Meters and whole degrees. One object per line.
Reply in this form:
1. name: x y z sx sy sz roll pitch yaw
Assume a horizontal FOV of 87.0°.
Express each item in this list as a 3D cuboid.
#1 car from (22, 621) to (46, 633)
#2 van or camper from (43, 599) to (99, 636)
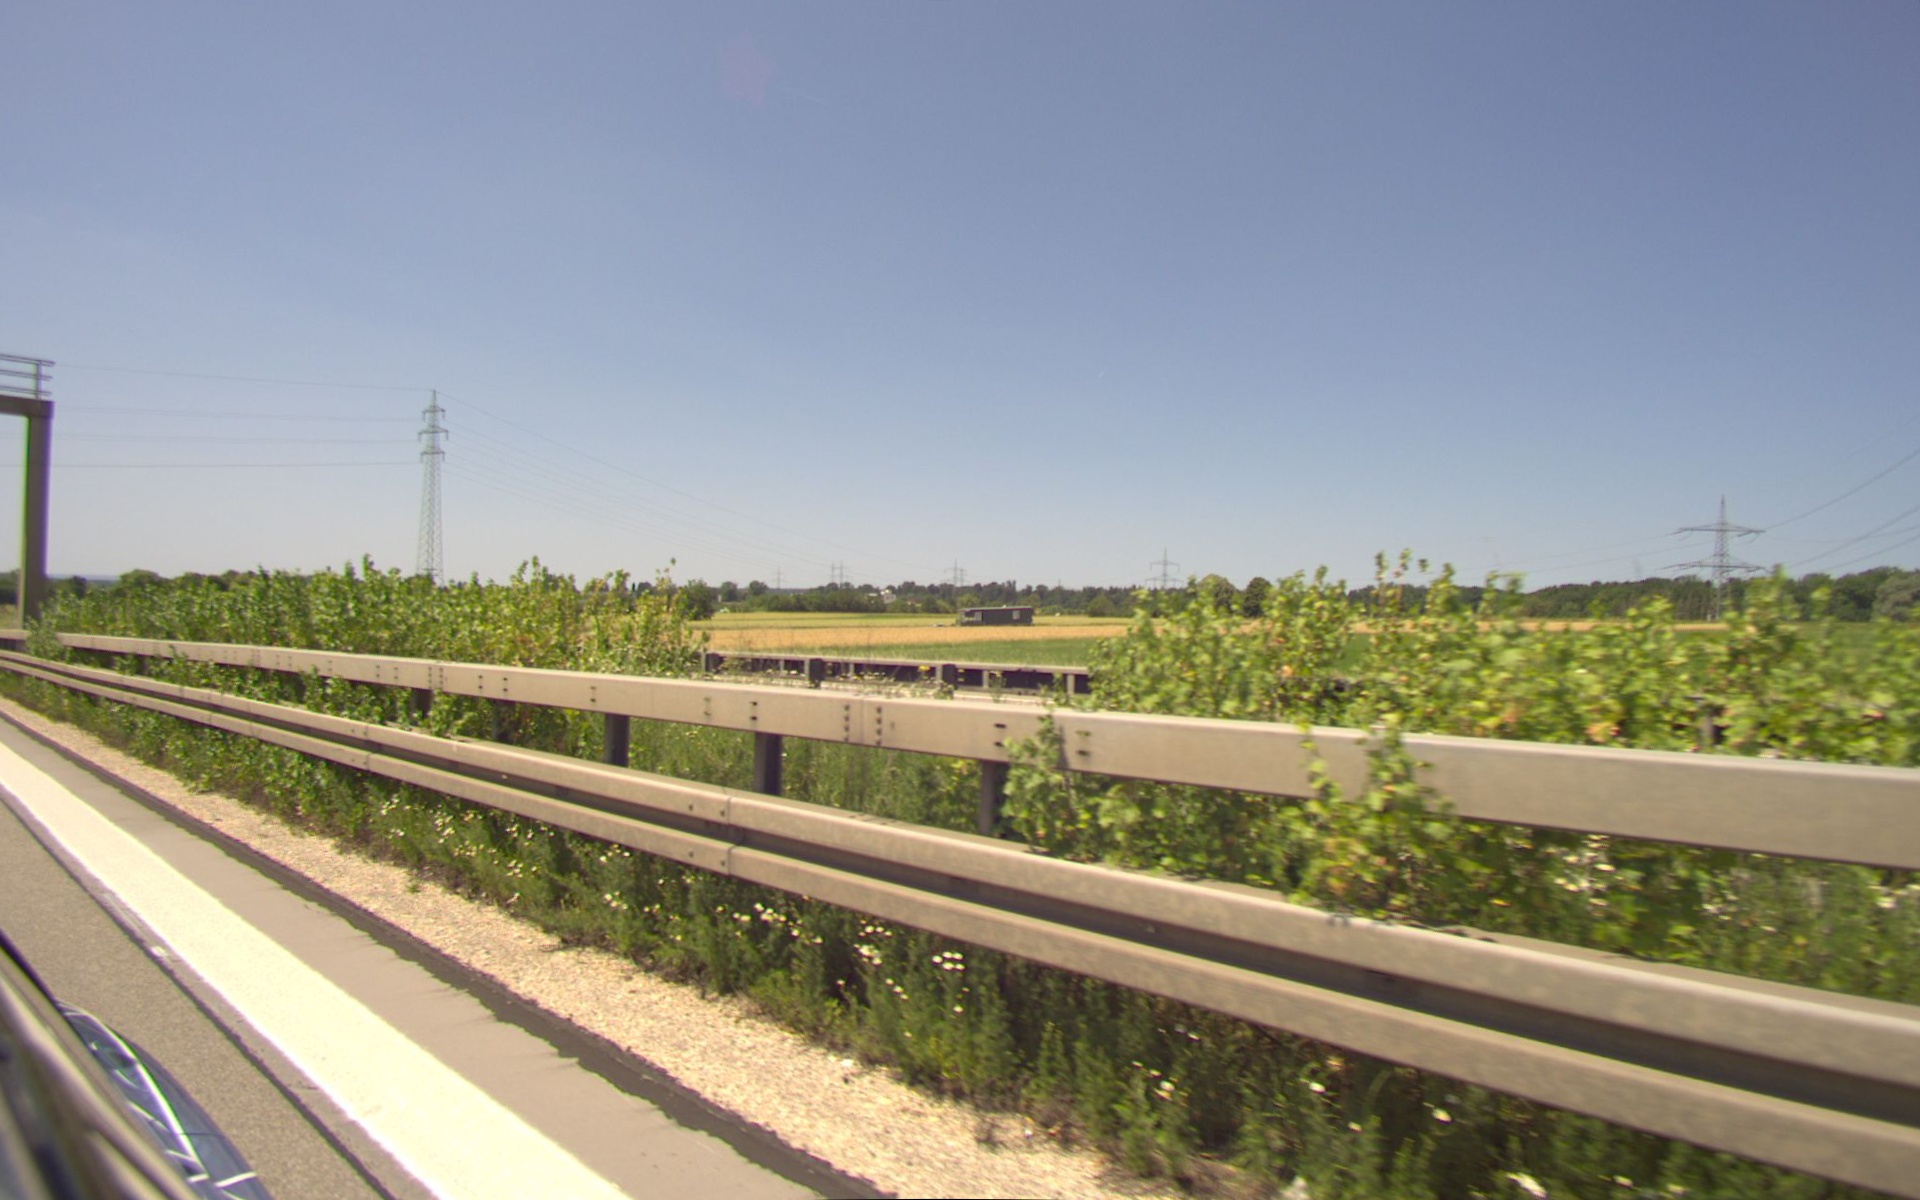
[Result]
1. car: -104.113 3.068 113.806 4.040 1.316 1.557 -1 -2 41
2. van or camper: -63.597 1.250 72.367 6.594 2.527 2.204 -1 0 41
